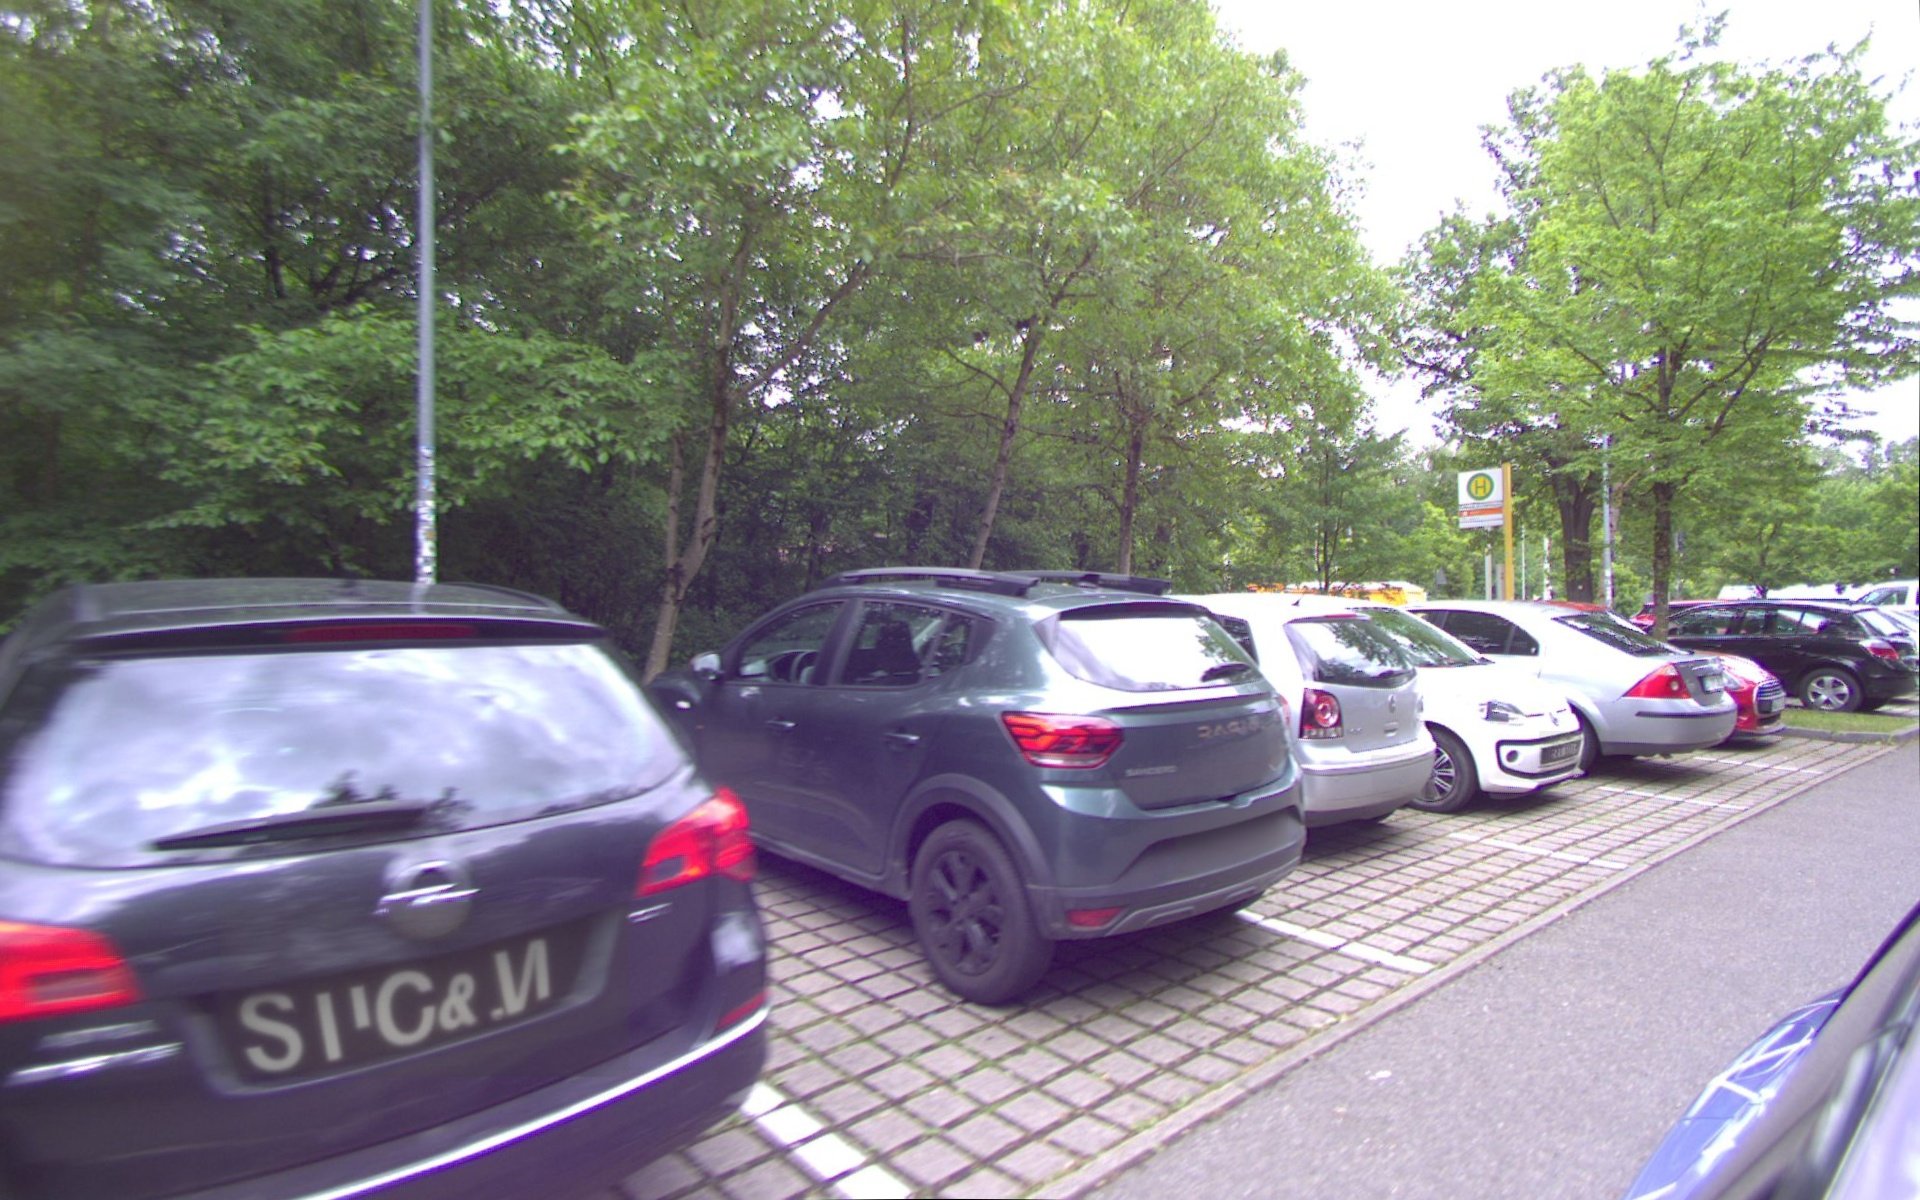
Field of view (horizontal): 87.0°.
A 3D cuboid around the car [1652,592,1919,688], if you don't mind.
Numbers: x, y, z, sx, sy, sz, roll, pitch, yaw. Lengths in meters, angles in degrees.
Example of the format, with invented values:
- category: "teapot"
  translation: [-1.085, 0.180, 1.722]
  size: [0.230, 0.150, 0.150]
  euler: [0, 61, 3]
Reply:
- category: "car"
  translation: [15.101, 0.630, 17.566]
  size: [1.816, 1.494, 4.790]
  euler: [1, 0, -32]

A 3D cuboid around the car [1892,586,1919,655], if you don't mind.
- category: "car"
  translation: [25.567, 0.528, 24.074]
  size: [2.121, 1.714, 4.542]
  euler: [0, 0, -26]

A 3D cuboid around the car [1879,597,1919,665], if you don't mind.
- category: "car"
  translation: [23.556, 0.710, 22.634]
  size: [1.906, 1.575, 4.016]
  euler: [1, -2, -25]

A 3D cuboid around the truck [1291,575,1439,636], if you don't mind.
- category: "truck"
  translation: [24.898, 0.299, 62.630]
  size: [2.815, 3.559, 8.243]
  euler: [2, -1, -37]

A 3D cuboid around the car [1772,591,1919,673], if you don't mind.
- category: "car"
  translation: [18.906, 0.657, 20.281]
  size: [1.810, 1.575, 3.735]
  euler: [3, -3, -33]

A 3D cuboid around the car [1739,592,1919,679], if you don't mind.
- category: "car"
  translation: [17.144, 0.618, 18.672]
  size: [1.841, 1.502, 4.000]
  euler: [-1, -1, -33]

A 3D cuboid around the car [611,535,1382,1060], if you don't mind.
- category: "car"
  translation: [-0.122, 0.602, 5.182]
  size: [1.915, 1.610, 3.775]
  euler: [1, 0, -40]

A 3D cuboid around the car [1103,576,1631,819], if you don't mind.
- category: "car"
  translation: [3.131, 0.586, 8.368]
  size: [1.720, 1.529, 3.710]
  euler: [0, 1, -39]

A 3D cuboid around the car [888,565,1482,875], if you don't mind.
- category: "car"
  translation: [1.326, 0.583, 7.136]
  size: [1.700, 1.565, 3.849]
  euler: [0, 0, -41]

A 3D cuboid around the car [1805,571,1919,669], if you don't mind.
- category: "car"
  translation: [21.267, 0.443, 21.484]
  size: [2.042, 2.047, 4.665]
  euler: [2, -3, -32]

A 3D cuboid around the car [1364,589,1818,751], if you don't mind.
- category: "car"
  translation: [6.970, 0.631, 11.514]
  size: [1.906, 1.468, 3.996]
  euler: [0, 1, -39]

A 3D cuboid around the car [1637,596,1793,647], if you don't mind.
- category: "car"
  translation: [28.416, 0.809, 38.178]
  size: [4.561, 1.773, 1.969]
  euler: [-1, -3, 43]

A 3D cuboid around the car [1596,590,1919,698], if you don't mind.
- category: "car"
  translation: [12.866, 0.588, 16.144]
  size: [1.883, 1.499, 4.242]
  euler: [0, 0, -35]

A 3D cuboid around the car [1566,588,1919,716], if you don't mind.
- category: "car"
  translation: [11.106, 0.607, 14.267]
  size: [1.886, 1.502, 4.000]
  euler: [0, 1, -35]

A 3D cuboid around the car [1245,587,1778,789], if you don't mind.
- category: "car"
  translation: [5.026, 0.627, 9.742]
  size: [1.831, 1.480, 4.138]
  euler: [0, 1, -37]

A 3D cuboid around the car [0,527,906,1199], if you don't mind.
- category: "car"
  translation: [-2.059, 0.652, 3.029]
  size: [1.744, 1.500, 3.770]
  euler: [1, 0, -44]
